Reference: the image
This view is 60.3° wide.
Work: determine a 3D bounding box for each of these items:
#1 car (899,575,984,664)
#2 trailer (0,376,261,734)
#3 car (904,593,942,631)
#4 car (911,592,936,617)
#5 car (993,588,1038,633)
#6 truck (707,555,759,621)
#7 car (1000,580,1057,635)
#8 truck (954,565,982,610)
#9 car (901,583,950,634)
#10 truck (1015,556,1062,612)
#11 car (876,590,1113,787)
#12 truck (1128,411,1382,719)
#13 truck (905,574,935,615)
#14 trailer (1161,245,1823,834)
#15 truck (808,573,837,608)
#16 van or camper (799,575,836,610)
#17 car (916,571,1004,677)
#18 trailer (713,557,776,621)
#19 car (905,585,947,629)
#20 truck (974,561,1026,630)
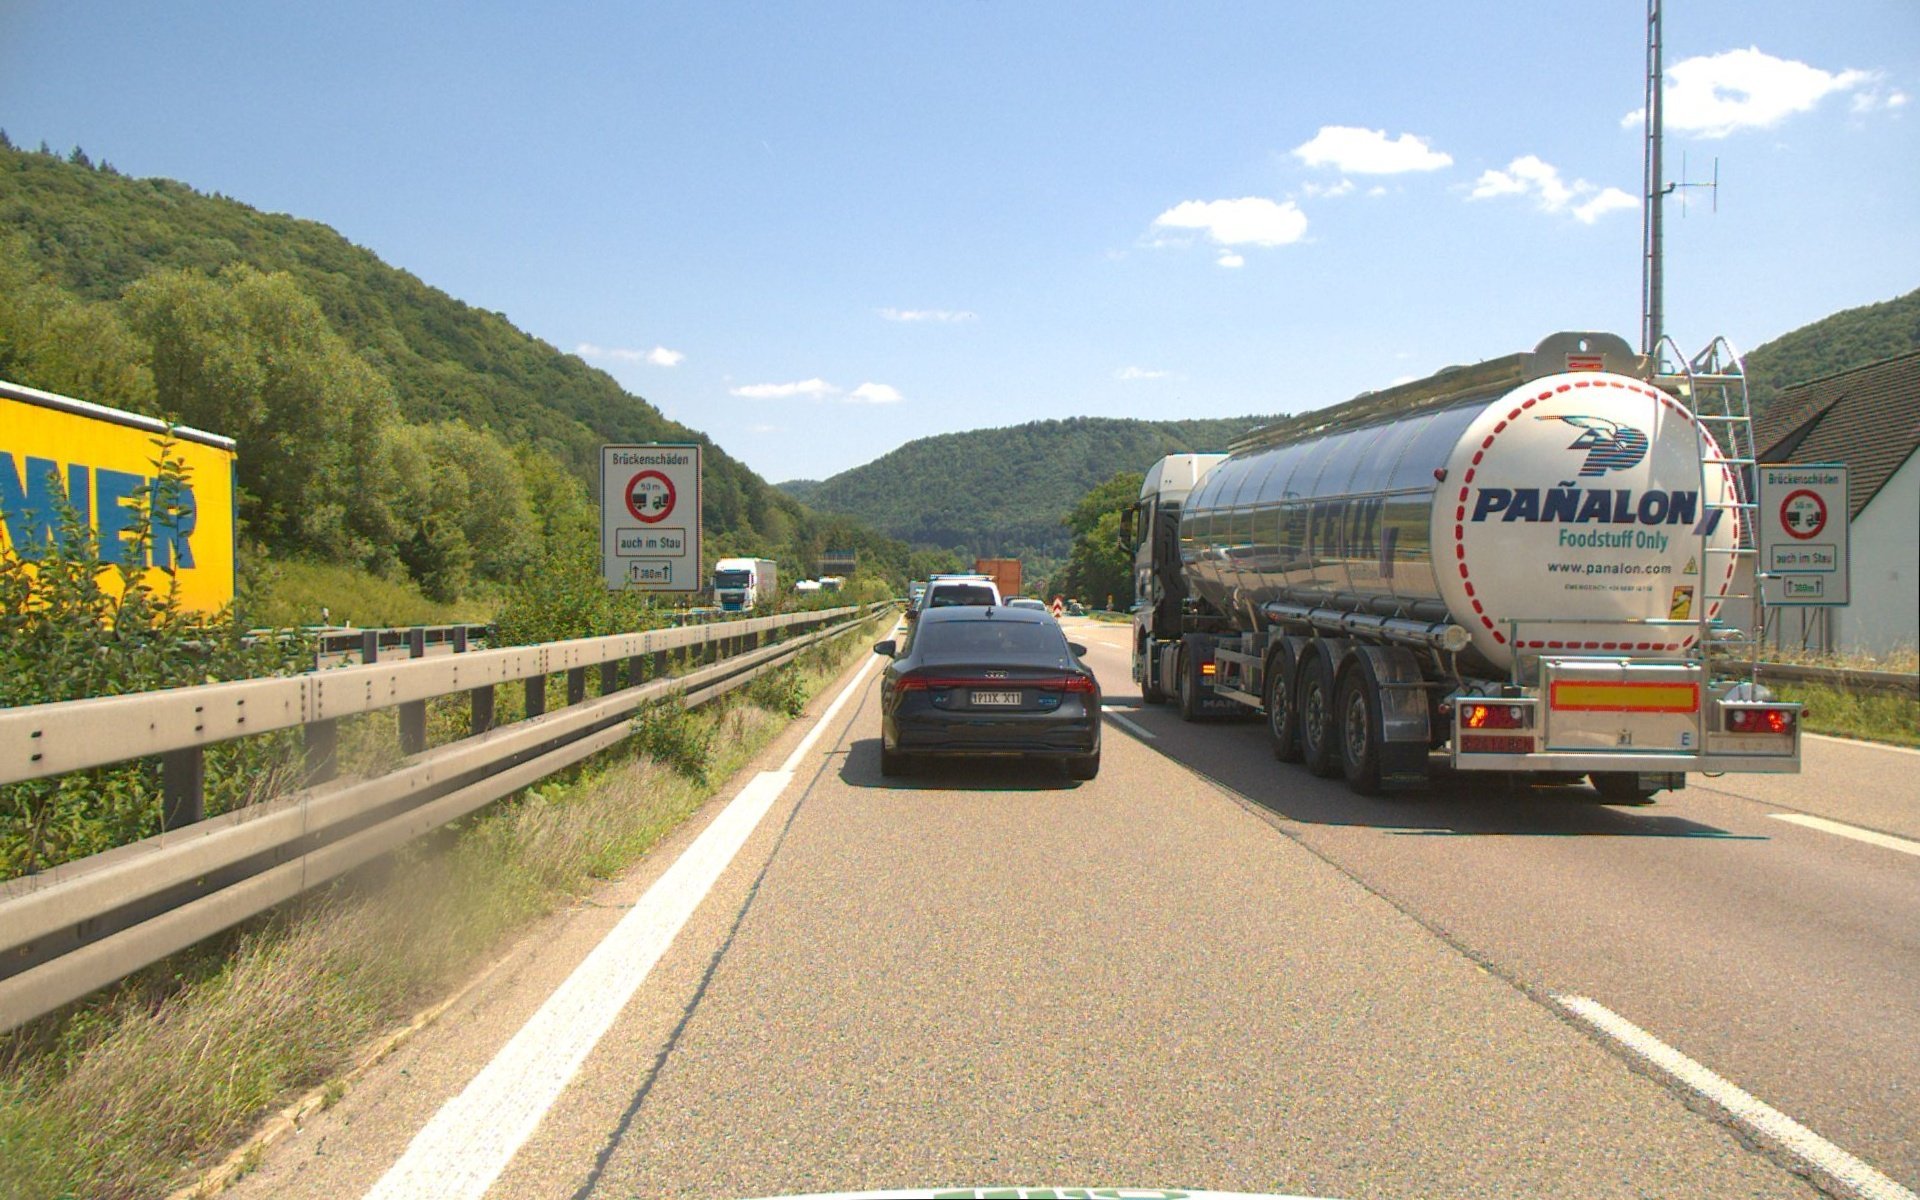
[{"bbox_3d":[-0.477,0.454,40.421,1.953,2.049,3.999,1,0,-1],"label":"car"},{"bbox_3d":[-12.211,-0.528,19.688,2.528,4.075,12.598,1,0,-1],"label":"trailer"},{"bbox_3d":[-1.653,0.533,74.967,1.677,1.647,4.000,0,0,0],"label":"car"},{"bbox_3d":[-2.503,0.303,114.633,1.677,1.647,4.000,0,0,0],"label":"car"},{"bbox_3d":[2.558,0.482,77.386,1.953,2.038,4.000,0,0,0],"label":"car"},{"bbox_3d":[-14.481,-0.764,105.722,2.673,4.071,5.368,0,0,-1],"label":"truck"},{"bbox_3d":[2.579,0.268,63.251,1.953,2.049,3.999,0,0,-1],"label":"car"},{"bbox_3d":[0.582,-0.958,135.430,1.953,3.507,11.808,1,0,-1],"label":"truck"},{"bbox_3d":[-1.442,0.334,68.443,1.953,2.049,3.999,0,0,-2],"label":"car"},{"bbox_3d":[5.939,-1.168,127.288,2.760,4.073,14.953,1,0,0],"label":"truck"},{"bbox_3d":[0.169,0.690,14.912,1.813,1.514,4.080,1,0,-3],"label":"car"},{"bbox_3d":[3.963,-0.440,23.342,2.461,3.824,5.243,1,0,-2],"label":"truck"},{"bbox_3d":[-3.559,-0.471,148.882,2.575,3.501,11.418,0,0,-1],"label":"truck"},{"bbox_3d":[4.198,-0.395,16.713,2.487,3.801,11.887,1,0,-2],"label":"trailer"},{"bbox_3d":[-16.371,-1.146,197.532,2.811,4.076,10.167,1,0,-2],"label":"truck"},{"bbox_3d":[-14.378,-0.758,167.141,2.535,3.394,7.652,0,0,4],"label":"van or camper"},{"bbox_3d":[-0.045,0.429,31.445,1.544,1.865,3.999,1,0,-1],"label":"car"},{"bbox_3d":[-14.612,-0.724,113.413,2.726,4.070,14.156,0,0,-1],"label":"trailer"},{"bbox_3d":[-1.622,0.310,78.791,1.953,2.049,3.999,0,0,-2],"label":"car"},{"bbox_3d":[2.416,-0.288,105.391,2.760,4.073,14.953,1,0,0],"label":"truck"}]
